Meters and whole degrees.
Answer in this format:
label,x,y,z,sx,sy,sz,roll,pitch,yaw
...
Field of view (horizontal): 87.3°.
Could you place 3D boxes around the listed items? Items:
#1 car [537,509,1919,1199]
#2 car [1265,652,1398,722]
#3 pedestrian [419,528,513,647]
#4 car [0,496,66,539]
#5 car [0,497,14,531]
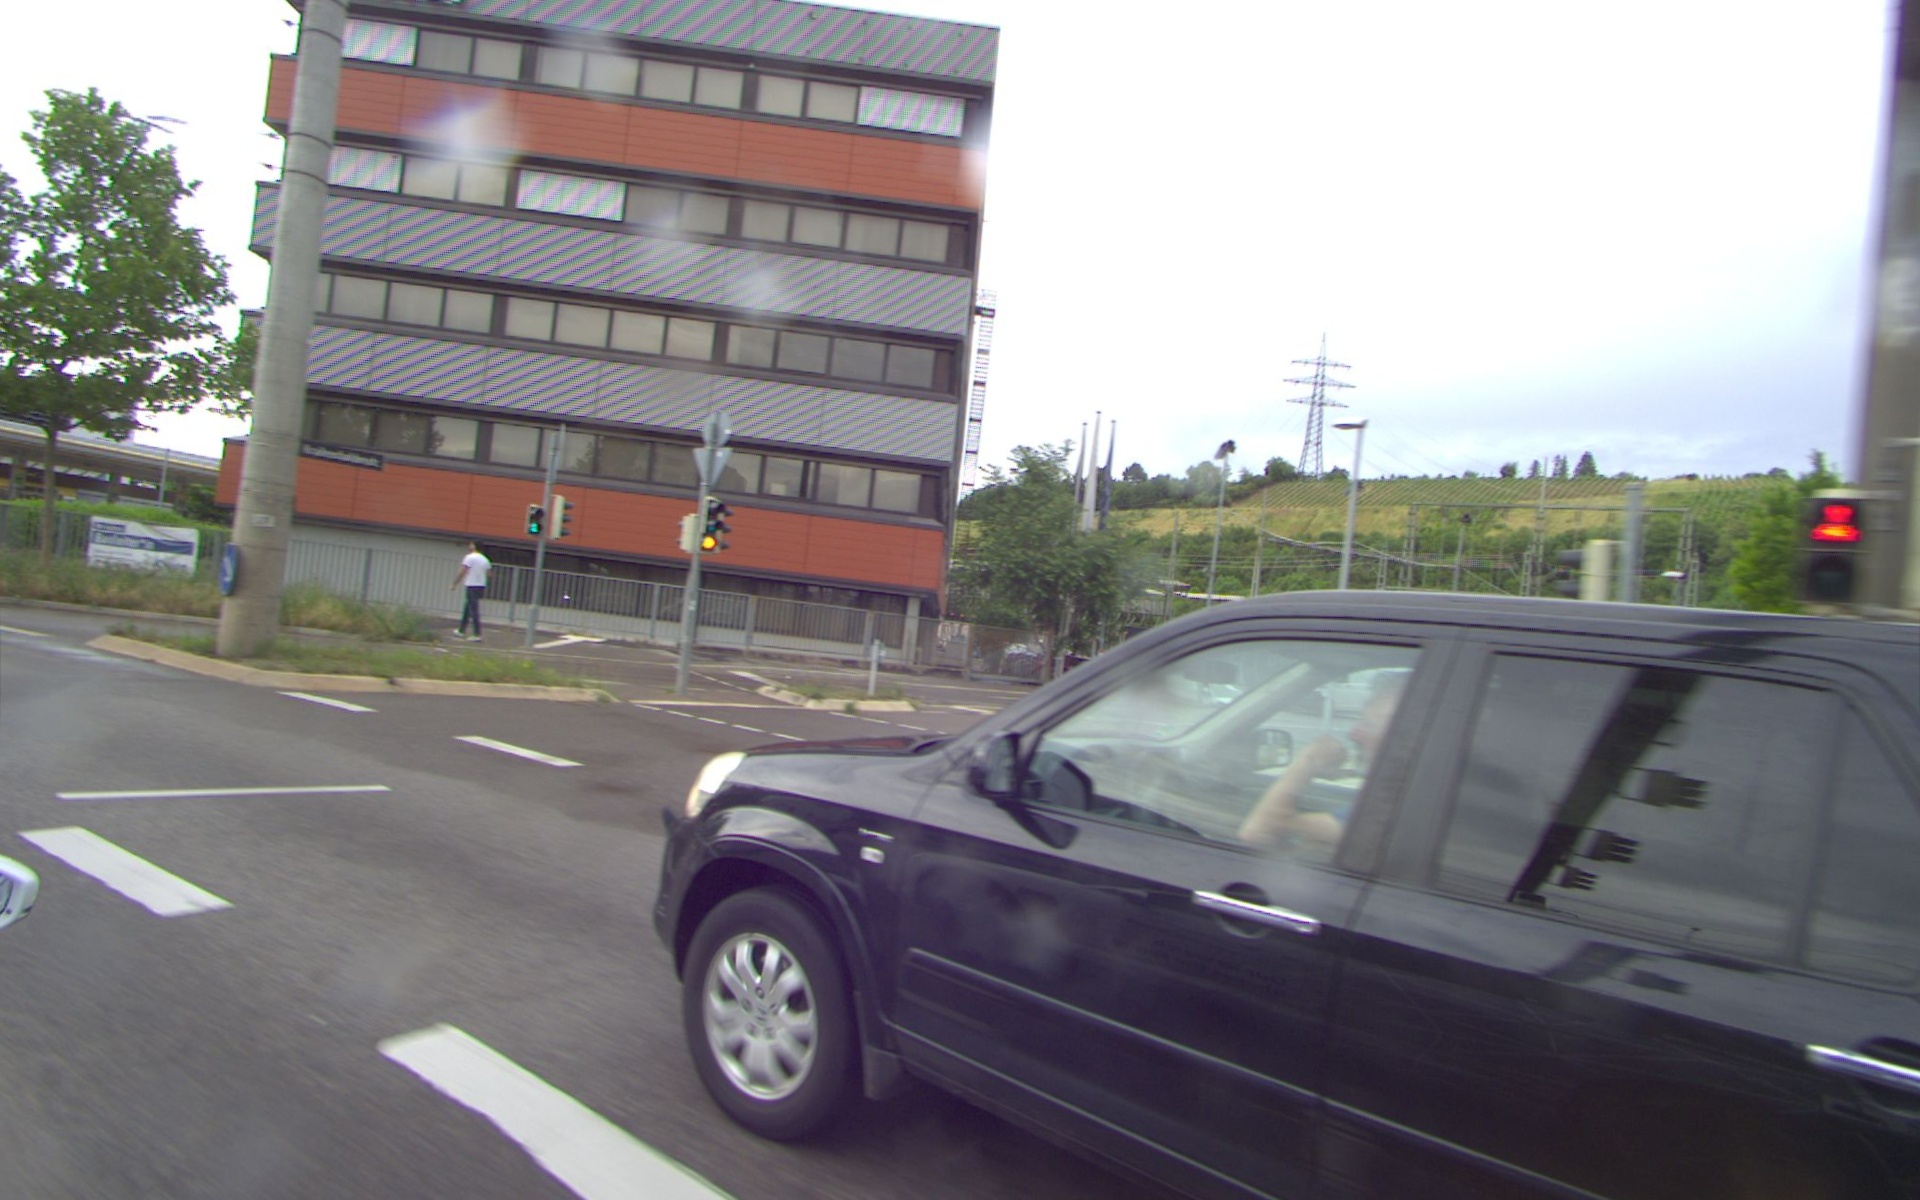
label,x,y,z,sx,sy,sz,roll,pitch,yaw
car,1.008,0.821,2.660,4.257,1.647,1.769,6,-4,35
car,13.429,3.147,36.238,5.042,1.937,1.981,10,-4,-37
pedestrian,-9.763,-0.251,19.874,1.206,2.152,1.141,8,1,44
car,-53.844,-4.777,58.371,3.083,2.035,1.681,6,-4,27
car,-61.277,-5.582,62.665,3.705,2.035,1.879,6,-4,23
